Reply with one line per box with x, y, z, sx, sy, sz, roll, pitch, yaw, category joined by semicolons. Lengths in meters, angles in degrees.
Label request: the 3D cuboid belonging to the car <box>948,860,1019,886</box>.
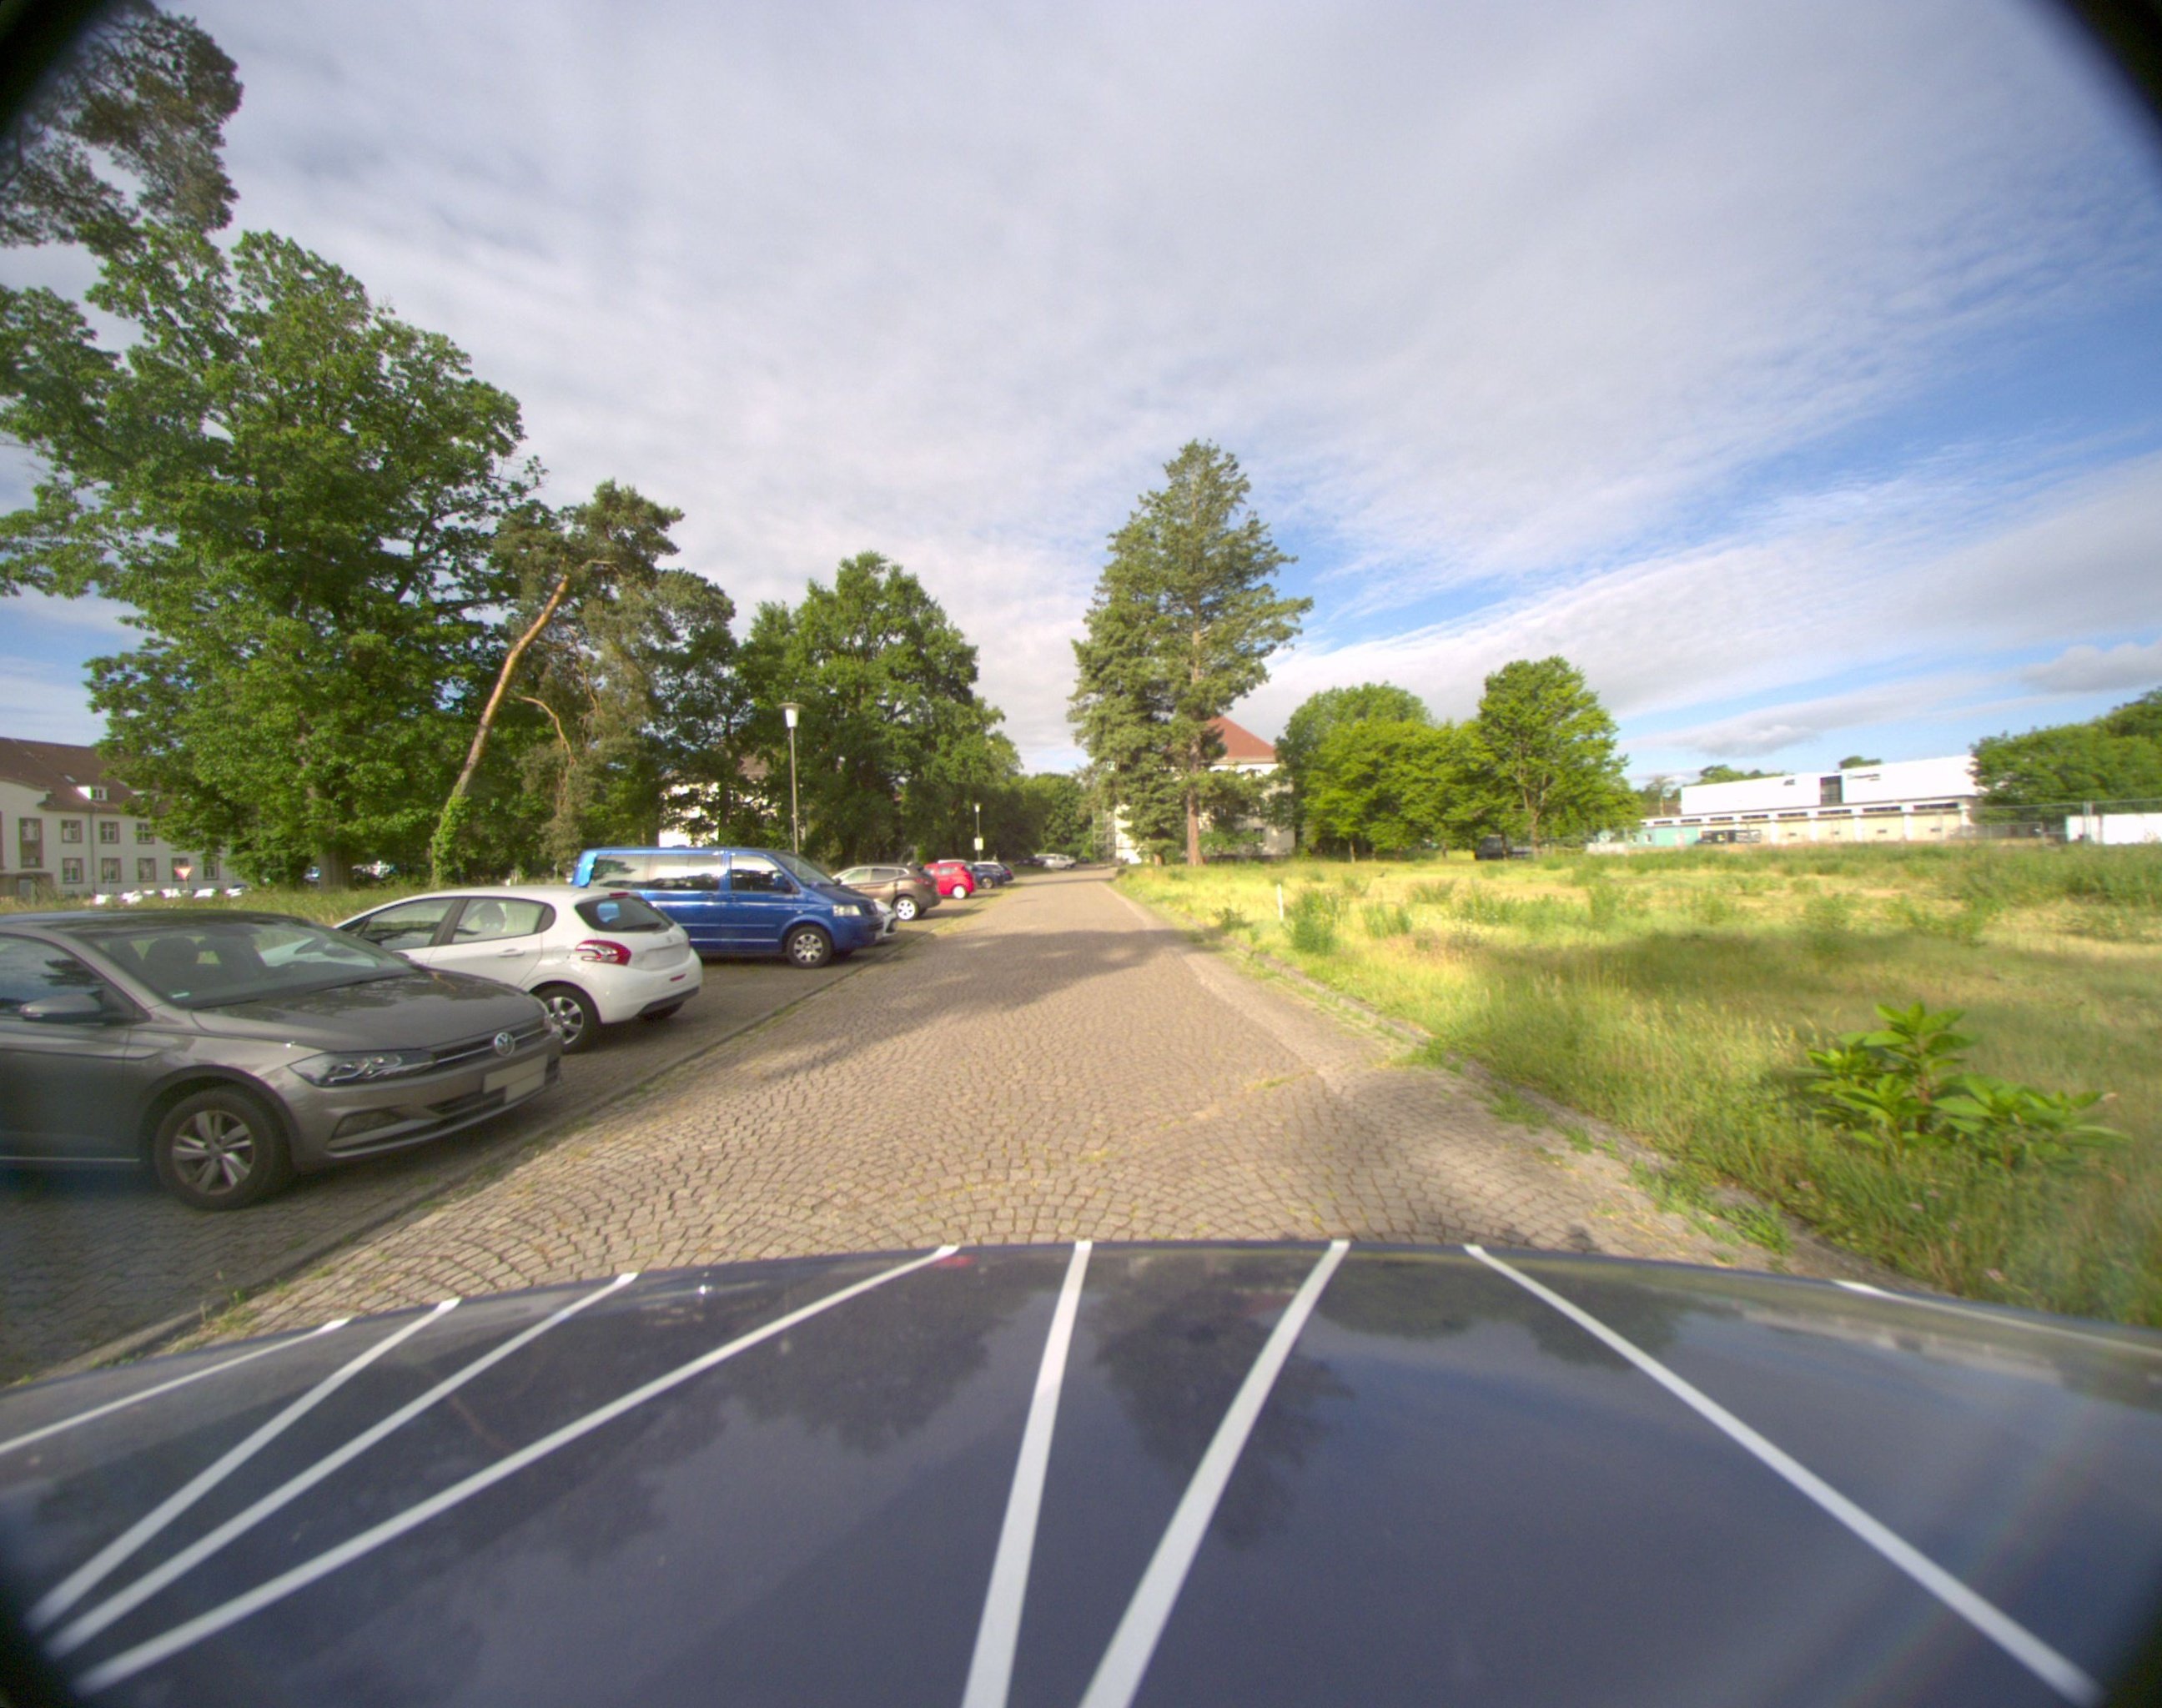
-5.970;1.154;46.835;4.035;1.442;1.783;-1;1;1;car

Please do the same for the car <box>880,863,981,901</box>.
-6.240;1.151;31.846;3.887;1.464;1.686;-1;1;-2;car

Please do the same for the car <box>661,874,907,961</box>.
-5.774;1.218;15.236;4.203;1.461;1.807;-1;1;-5;car

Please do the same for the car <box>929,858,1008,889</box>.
-6.194;1.071;42.132;4.136;1.560;1.746;-1;1;-2;car

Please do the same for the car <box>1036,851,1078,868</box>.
-3.020;0.692;95.839;5.079;2.029;2.000;-2;0;-1;car

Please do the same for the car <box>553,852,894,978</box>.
-5.739;0.932;12.720;4.745;1.917;1.991;0;1;-2;car

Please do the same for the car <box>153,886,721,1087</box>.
-5.890;1.168;7.368;3.884;1.521;1.807;-1;1;-1;car

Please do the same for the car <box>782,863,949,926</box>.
-6.003;1.105;21.587;4.202;1.580;1.877;-1;1;-2;car

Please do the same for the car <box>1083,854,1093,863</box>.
1.431;0.949;162.239;1.999;1.762;4.108;-2;1;-1;car

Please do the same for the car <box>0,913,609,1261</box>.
-5.393;1.203;4.520;3.961;1.459;1.830;-1;1;-1;car

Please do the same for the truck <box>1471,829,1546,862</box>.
35.651;-0.673;63.640;2.417;2.572;6.959;-2;0;2;truck
